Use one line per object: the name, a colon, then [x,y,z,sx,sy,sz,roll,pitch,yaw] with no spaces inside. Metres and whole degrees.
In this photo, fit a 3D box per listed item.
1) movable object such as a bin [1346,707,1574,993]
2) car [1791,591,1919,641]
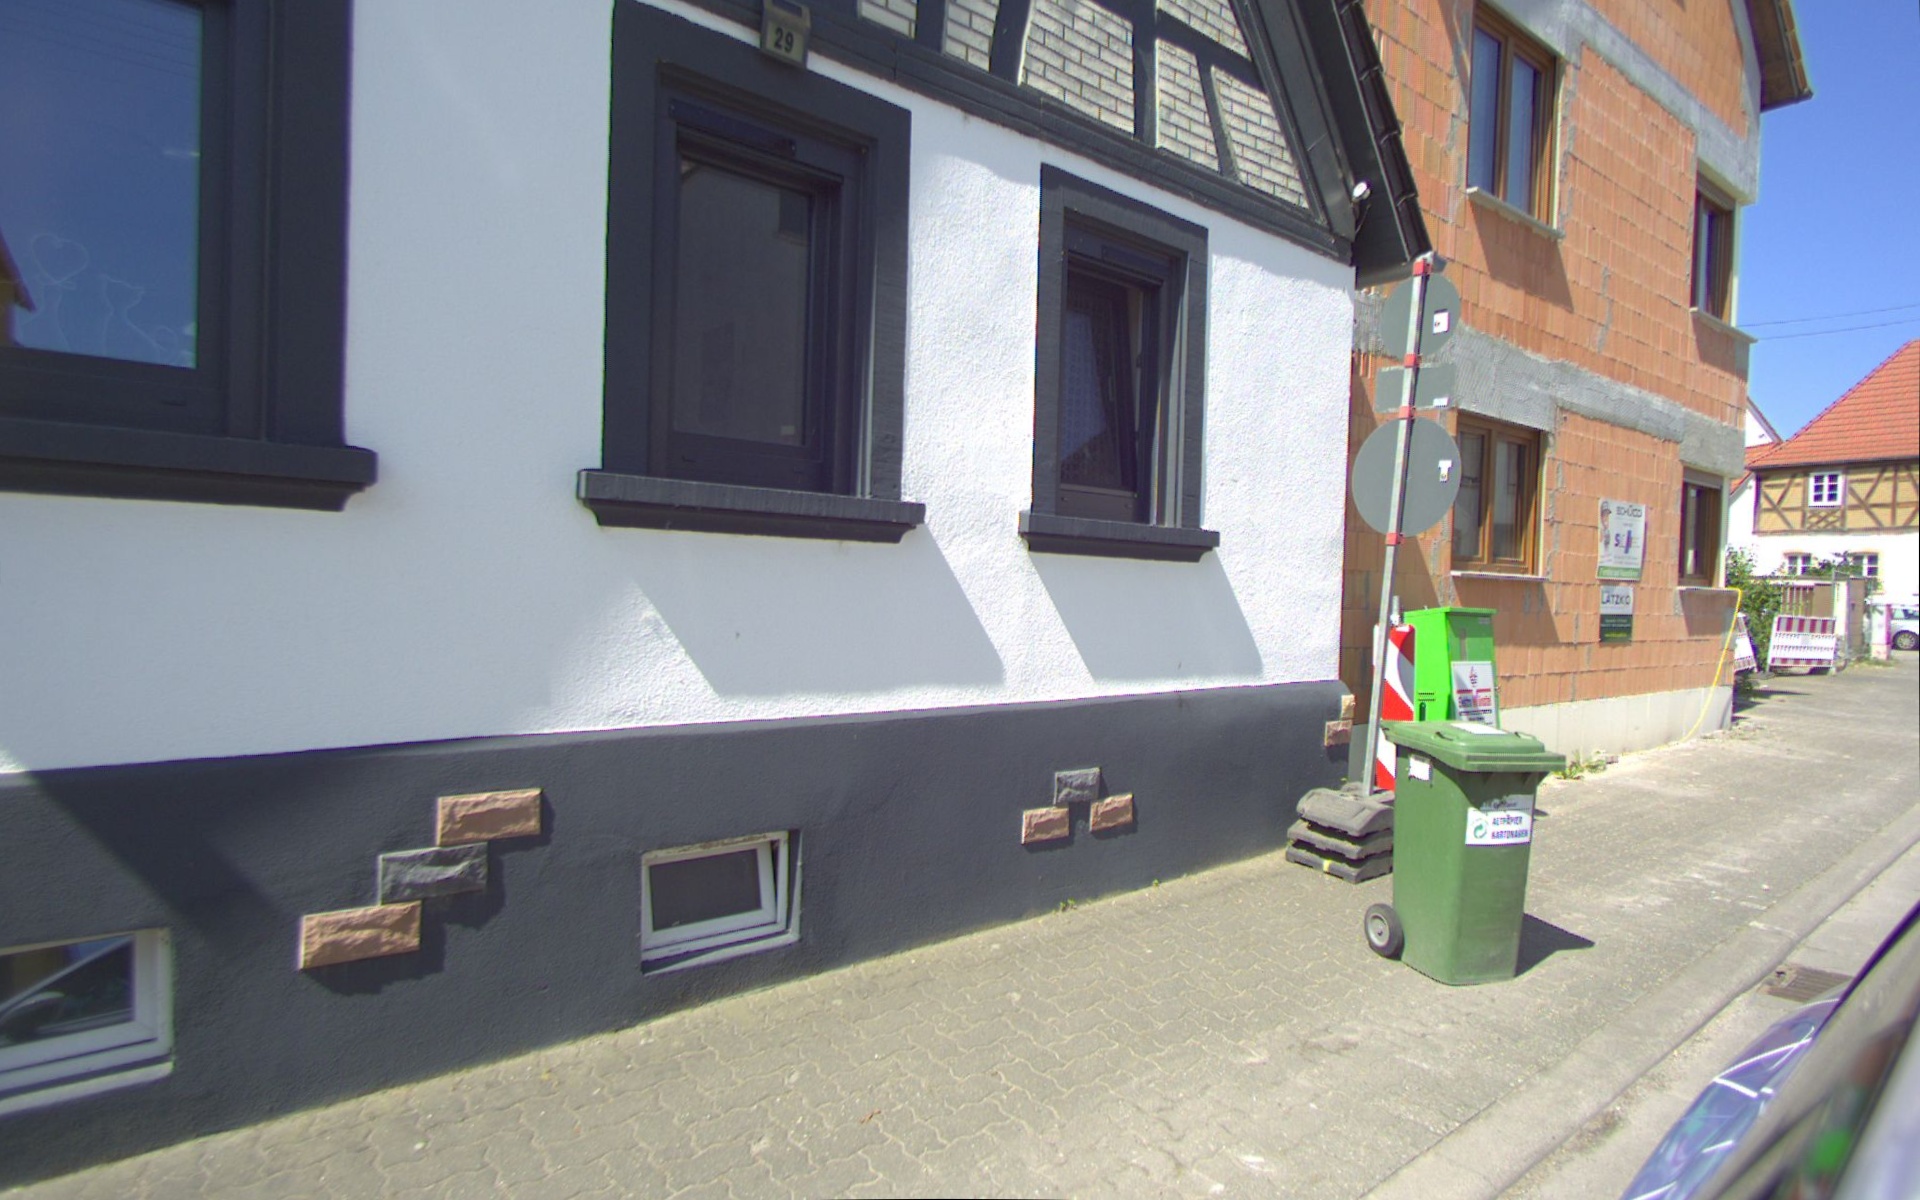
movable object such as a bin: [1.915,0.920,3.911,0.540,0.925,0.541,1,1,-21]
car: [31.180,0.545,33.864,1.959,1.470,4.776,1,2,-27]
